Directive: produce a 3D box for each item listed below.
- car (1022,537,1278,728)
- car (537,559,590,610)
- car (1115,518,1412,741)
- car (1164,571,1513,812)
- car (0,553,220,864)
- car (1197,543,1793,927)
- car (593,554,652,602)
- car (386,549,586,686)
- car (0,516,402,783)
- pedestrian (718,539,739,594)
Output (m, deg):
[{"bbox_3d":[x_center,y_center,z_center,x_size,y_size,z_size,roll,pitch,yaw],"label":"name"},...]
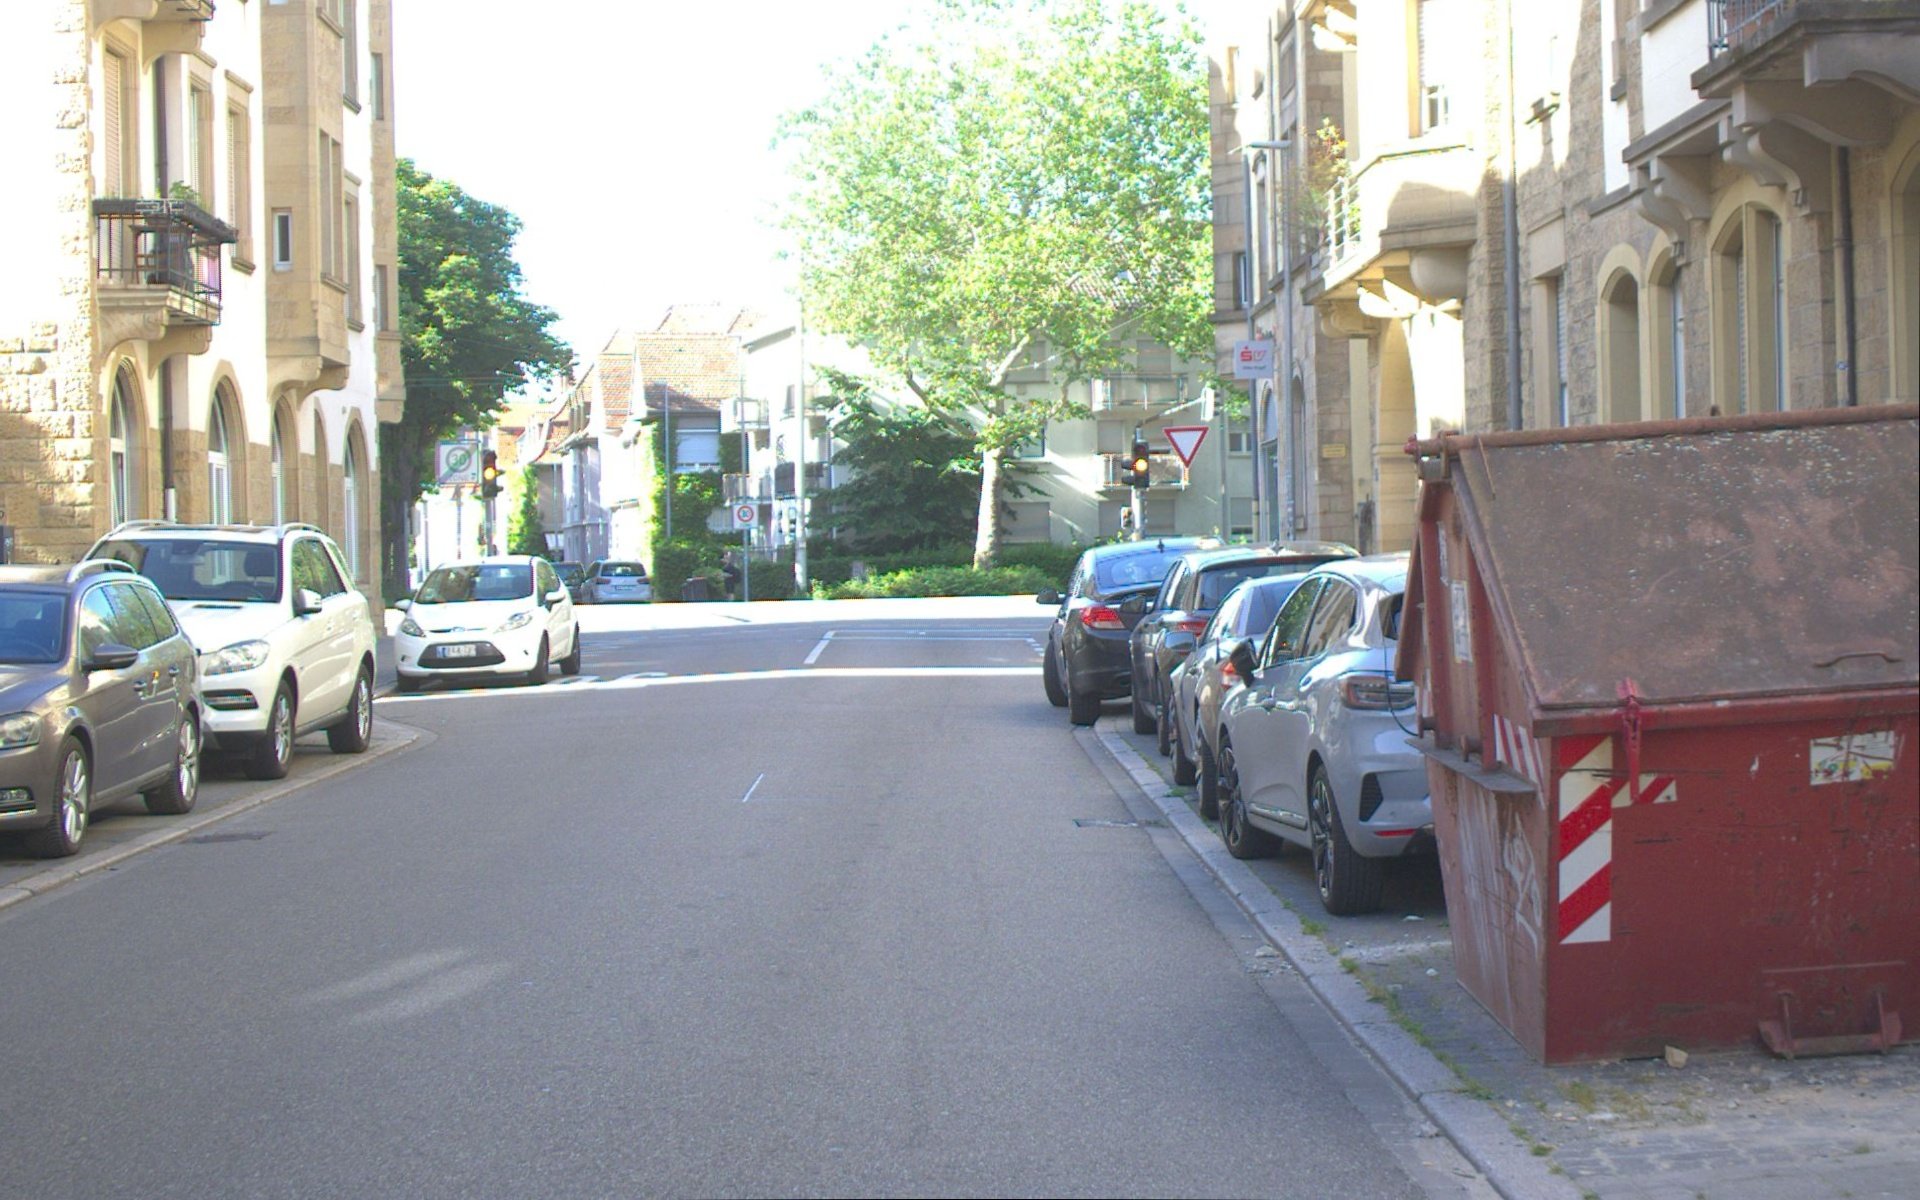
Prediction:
[{"bbox_3d":[1.570,0.221,29.834,1.865,1.457,4.340,-2,1,-1],"label":"car"},{"bbox_3d":[-16.484,-0.668,142.835,1.993,2.007,4.001,-2,1,-9],"label":"car"},{"bbox_3d":[2.137,0.151,25.222,1.651,1.437,4.259,-2,1,-1],"label":"car"},{"bbox_3d":[2.126,0.469,20.225,1.693,1.250,3.941,0,1,1],"label":"car"},{"bbox_3d":[-5.332,0.502,18.948,1.573,1.482,4.280,0,1,0],"label":"car"},{"bbox_3d":[2.207,0.487,15.205,1.786,1.425,3.808,-1,1,-4],"label":"car"},{"bbox_3d":[-10.803,-0.707,110.120,1.674,1.477,3.522,-1,0,-2],"label":"car"},{"bbox_3d":[-5.417,0.166,39.690,1.634,1.459,3.734,-1,1,2],"label":"car"},{"bbox_3d":[-5.385,0.283,24.879,1.892,1.716,4.726,-1,1,0],"label":"car"},{"bbox_3d":[-7.304,-1.052,108.300,0.633,1.744,0.659,-1,0,-3],"label":"pedestrian"}]
